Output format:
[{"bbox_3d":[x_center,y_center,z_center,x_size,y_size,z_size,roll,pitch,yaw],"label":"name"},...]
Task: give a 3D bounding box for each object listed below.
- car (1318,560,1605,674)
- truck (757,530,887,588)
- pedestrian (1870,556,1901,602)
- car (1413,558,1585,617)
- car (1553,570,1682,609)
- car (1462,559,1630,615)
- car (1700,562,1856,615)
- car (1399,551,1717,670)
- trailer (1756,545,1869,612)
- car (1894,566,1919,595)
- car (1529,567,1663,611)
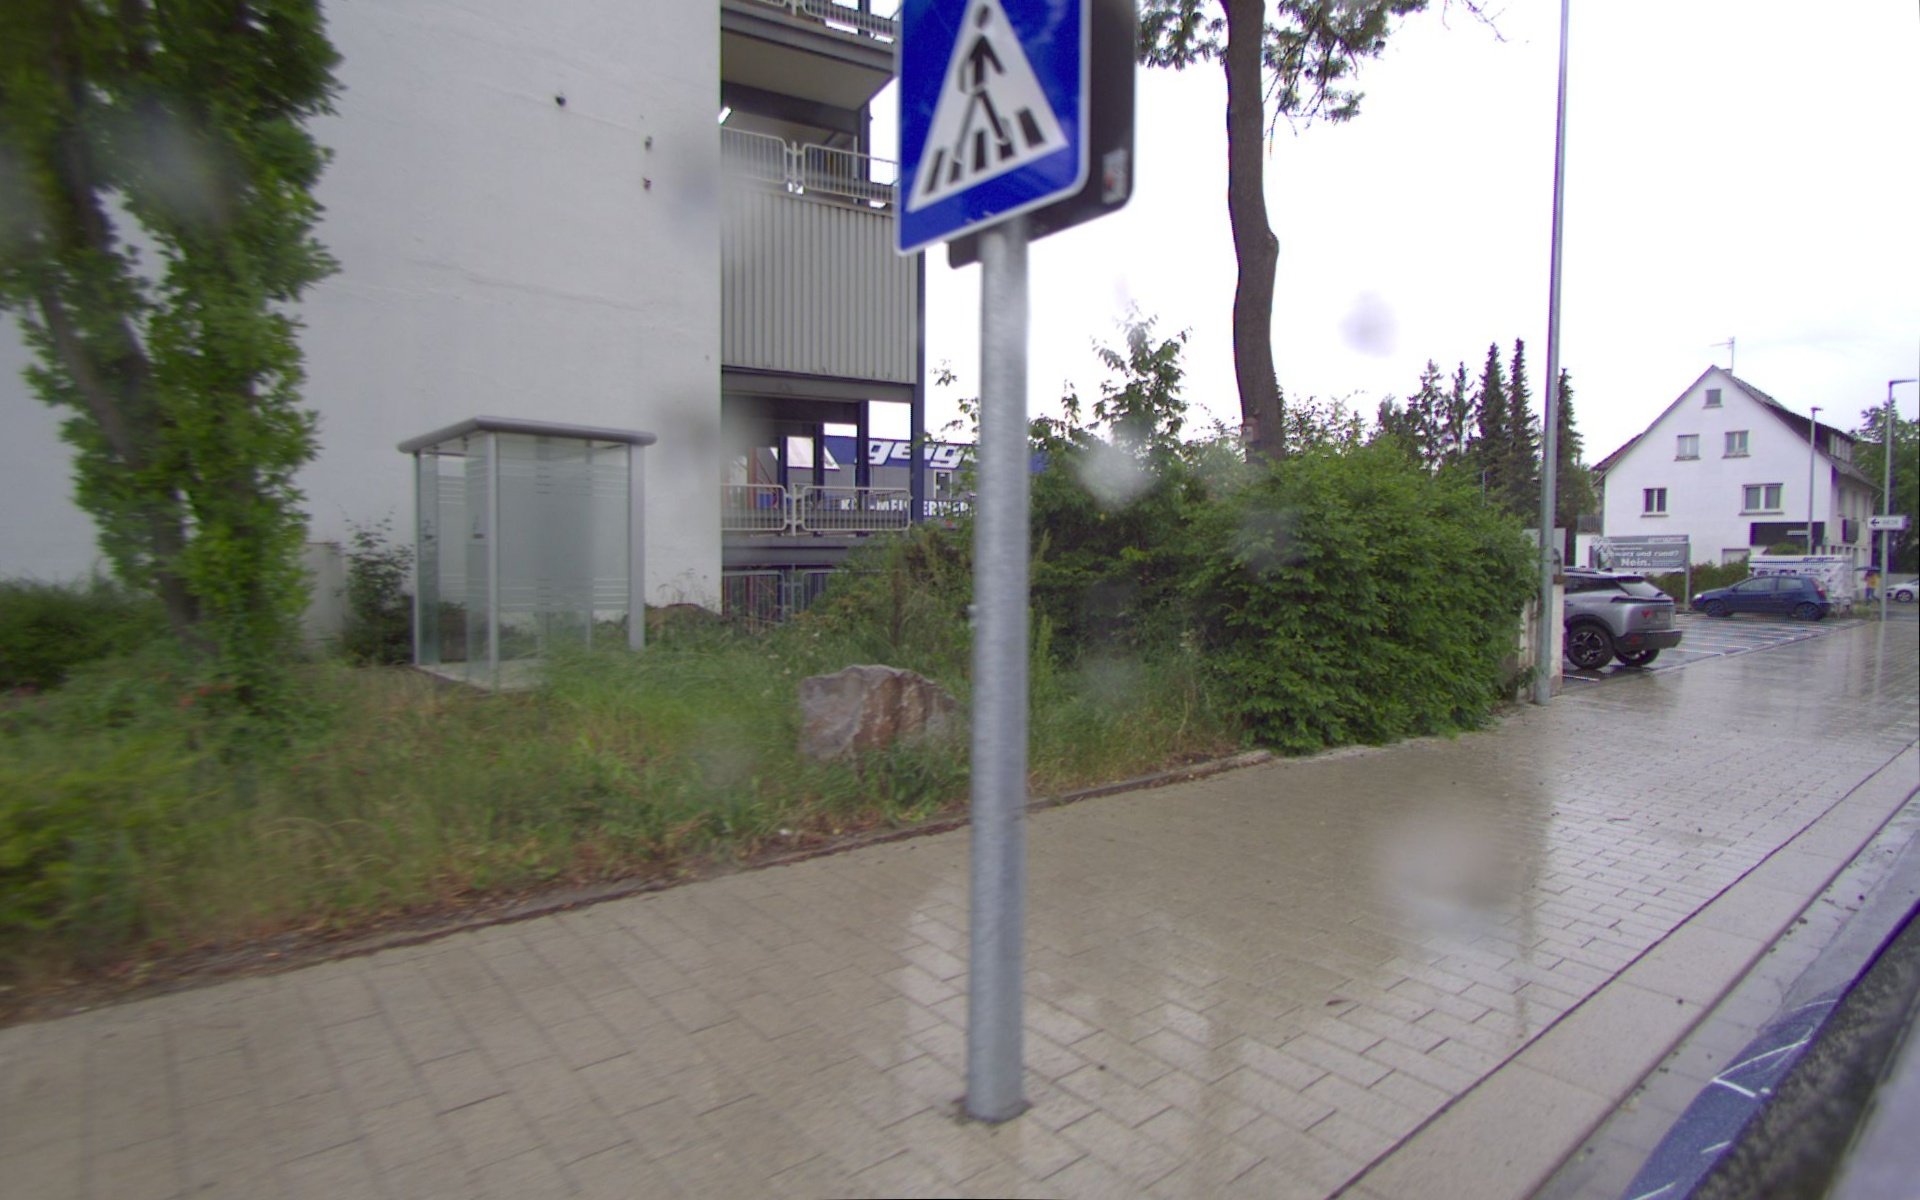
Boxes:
[{"bbox_3d":[7.739,0.164,15.943,1.770,1.512,3.637,-1,3,-31],"label":"car"},{"bbox_3d":[-6.029,-1.810,44.471,5.204,2.297,2.001,-3,0,-31],"label":"truck"},{"bbox_3d":[42.521,-0.964,46.499,1.175,2.037,0.860,-1,4,-42],"label":"pedestrian"},{"bbox_3d":[16.686,-0.438,31.518,1.754,1.679,4.366,-1,3,-39],"label":"car"},{"bbox_3d":[24.357,-0.434,37.579,1.665,1.331,3.730,-1,3,-43],"label":"car"},{"bbox_3d":[18.855,-0.476,32.712,1.813,1.672,4.362,-1,3,-42],"label":"car"},{"bbox_3d":[27.036,-0.441,33.545,1.621,1.547,3.734,-2,4,-40],"label":"car"},{"bbox_3d":[10.042,0.064,17.355,1.960,1.669,4.228,-1,4,-30],"label":"car"},{"bbox_3d":[29.203,-0.751,34.702,1.520,2.198,2.709,-1,2,-38],"label":"trailer"},{"bbox_3d":[54.920,-1.016,56.267,4.118,1.599,1.975,4,3,36],"label":"car"},{"bbox_3d":[22.592,-0.436,36.041,1.702,1.467,3.730,-1,3,-43],"label":"car"}]
